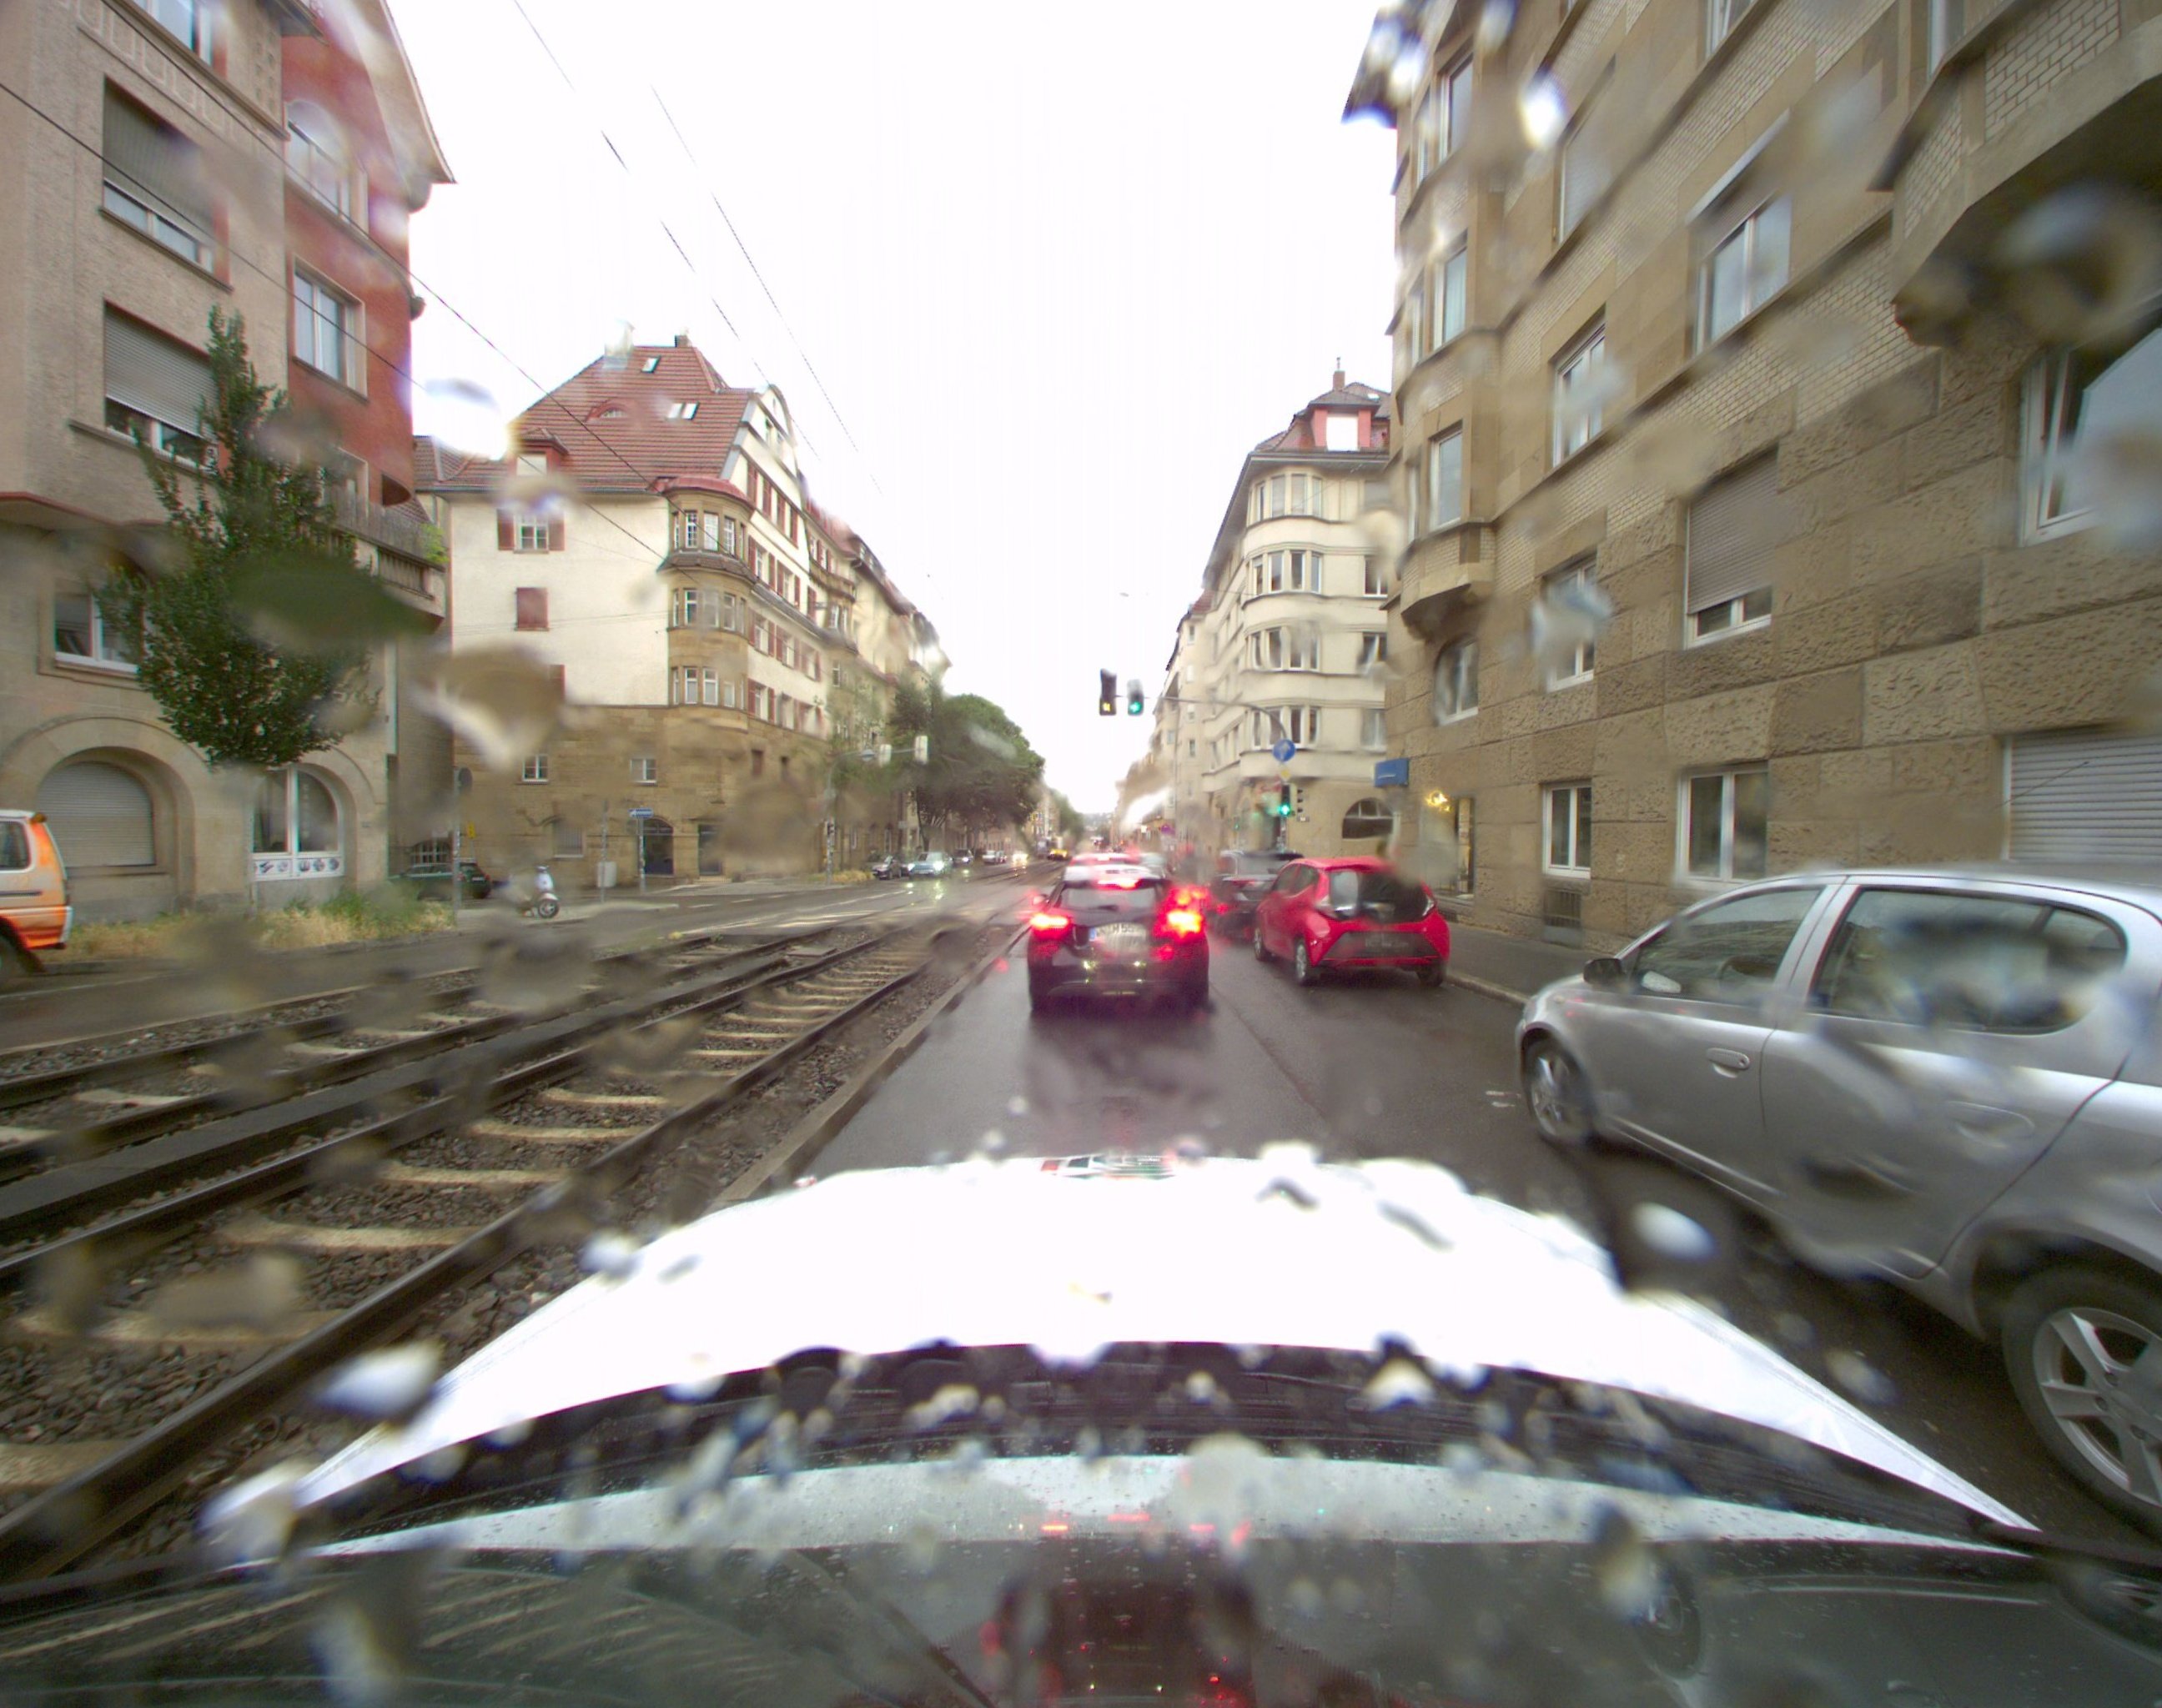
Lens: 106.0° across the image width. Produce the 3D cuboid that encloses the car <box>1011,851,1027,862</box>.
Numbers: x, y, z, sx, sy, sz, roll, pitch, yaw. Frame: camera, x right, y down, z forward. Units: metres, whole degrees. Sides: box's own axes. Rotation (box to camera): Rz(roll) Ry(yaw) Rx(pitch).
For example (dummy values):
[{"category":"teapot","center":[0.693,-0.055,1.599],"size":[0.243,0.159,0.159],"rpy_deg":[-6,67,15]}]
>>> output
[{"category":"car","center":[-8.246,0.330,108.385],"size":[1.775,1.502,4.062],"rpy_deg":[0,-1,0]}]

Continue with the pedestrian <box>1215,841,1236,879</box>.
[{"category":"pedestrian","center":[6.502,0.268,36.625],"size":[0.801,1.687,0.754],"rpy_deg":[0,-1,1]}]

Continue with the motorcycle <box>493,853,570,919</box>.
[{"category":"motorcycle","center":[-12.016,0.678,17.804],"size":[1.761,1.375,0.772],"rpy_deg":[-1,-1,33]}]

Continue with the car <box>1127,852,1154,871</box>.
[{"category":"car","center":[4.486,0.540,61.937],"size":[1.783,1.385,4.396],"rpy_deg":[0,-1,1]}]

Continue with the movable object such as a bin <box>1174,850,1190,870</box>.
[{"category":"movable object such as a bin","center":[7.409,0.426,59.722],"size":[0.976,1.468,1.273],"rpy_deg":[0,-1,1]}]

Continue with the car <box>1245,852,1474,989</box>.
[{"category":"car","center":[3.345,0.710,10.491],"size":[1.700,1.453,3.531],"rpy_deg":[1,0,-1]}]

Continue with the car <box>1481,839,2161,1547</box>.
[{"category":"car","center":[3.107,0.703,3.031],"size":[1.588,1.487,3.524],"rpy_deg":[-1,0,2]}]

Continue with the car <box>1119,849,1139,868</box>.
[{"category":"car","center":[4.417,0.413,74.570],"size":[1.833,1.608,4.765],"rpy_deg":[0,-1,4]}]

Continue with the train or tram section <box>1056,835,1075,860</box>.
[{"category":"train or tram section","center":[-2.659,-1.166,142.456],"size":[2.736,4.061,15.663],"rpy_deg":[0,0,1]}]

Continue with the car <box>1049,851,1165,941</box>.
[{"category":"car","center":[0.515,0.727,16.182],"size":[1.986,1.525,4.247],"rpy_deg":[1,0,2]}]

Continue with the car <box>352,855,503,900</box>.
[{"category":"car","center":[-24.449,0.857,30.574],"size":[3.977,1.574,1.998],"rpy_deg":[0,-1,-2]}]

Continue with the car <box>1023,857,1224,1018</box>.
[{"category":"car","center":[0.448,0.765,9.355],"size":[1.828,1.453,3.903],"rpy_deg":[0,0,2]}]

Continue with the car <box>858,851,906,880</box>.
[{"category":"car","center":[-11.194,0.634,46.055],"size":[1.684,1.529,4.175],"rpy_deg":[0,-1,0]}]

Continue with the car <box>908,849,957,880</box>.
[{"category":"car","center":[-8.209,0.589,45.318],"size":[1.915,1.617,4.128],"rpy_deg":[0,-1,0]}]

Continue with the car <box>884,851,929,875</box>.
[{"category":"car","center":[-10.997,0.562,51.610],"size":[1.775,1.460,4.978],"rpy_deg":[0,-1,0]}]

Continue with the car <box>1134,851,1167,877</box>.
[{"category":"car","center":[4.114,0.617,48.981],"size":[1.705,1.468,4.775],"rpy_deg":[0,-1,2]}]

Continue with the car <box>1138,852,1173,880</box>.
[{"category":"car","center":[3.913,0.616,43.615],"size":[1.703,1.410,4.821],"rpy_deg":[0,-1,3]}]

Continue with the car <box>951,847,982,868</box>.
[{"category":"car","center":[-10.155,0.284,72.475],"size":[1.946,1.742,4.778],"rpy_deg":[3,1,0]}]

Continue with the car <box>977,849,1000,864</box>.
[{"category":"car","center":[-10.128,0.294,89.696],"size":[1.954,1.605,4.329],"rpy_deg":[1,1,1]}]

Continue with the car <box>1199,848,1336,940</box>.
[{"category":"car","center":[3.441,0.677,15.766],"size":[1.860,1.549,3.992],"rpy_deg":[1,0,2]}]

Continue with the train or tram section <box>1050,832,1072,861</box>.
[{"category":"train or tram section","center":[-2.951,-1.152,126.291],"size":[2.736,4.061,17.216],"rpy_deg":[0,0,1]}]

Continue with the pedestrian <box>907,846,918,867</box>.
[{"category":"pedestrian","center":[-13.884,0.213,67.124],"size":[0.726,1.663,0.771],"rpy_deg":[0,0,1]}]

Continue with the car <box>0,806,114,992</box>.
[{"category":"car","center":[-12.080,0.463,7.175],"size":[1.722,1.930,4.476],"rpy_deg":[0,-1,0]}]

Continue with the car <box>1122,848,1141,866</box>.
[{"category":"car","center":[4.944,0.302,80.697],"size":[1.771,1.750,4.551],"rpy_deg":[0,-1,2]}]

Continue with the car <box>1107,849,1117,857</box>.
[{"category":"car","center":[6.537,-0.238,170.153],"size":[1.879,1.525,4.249],"rpy_deg":[1,0,3]}]
